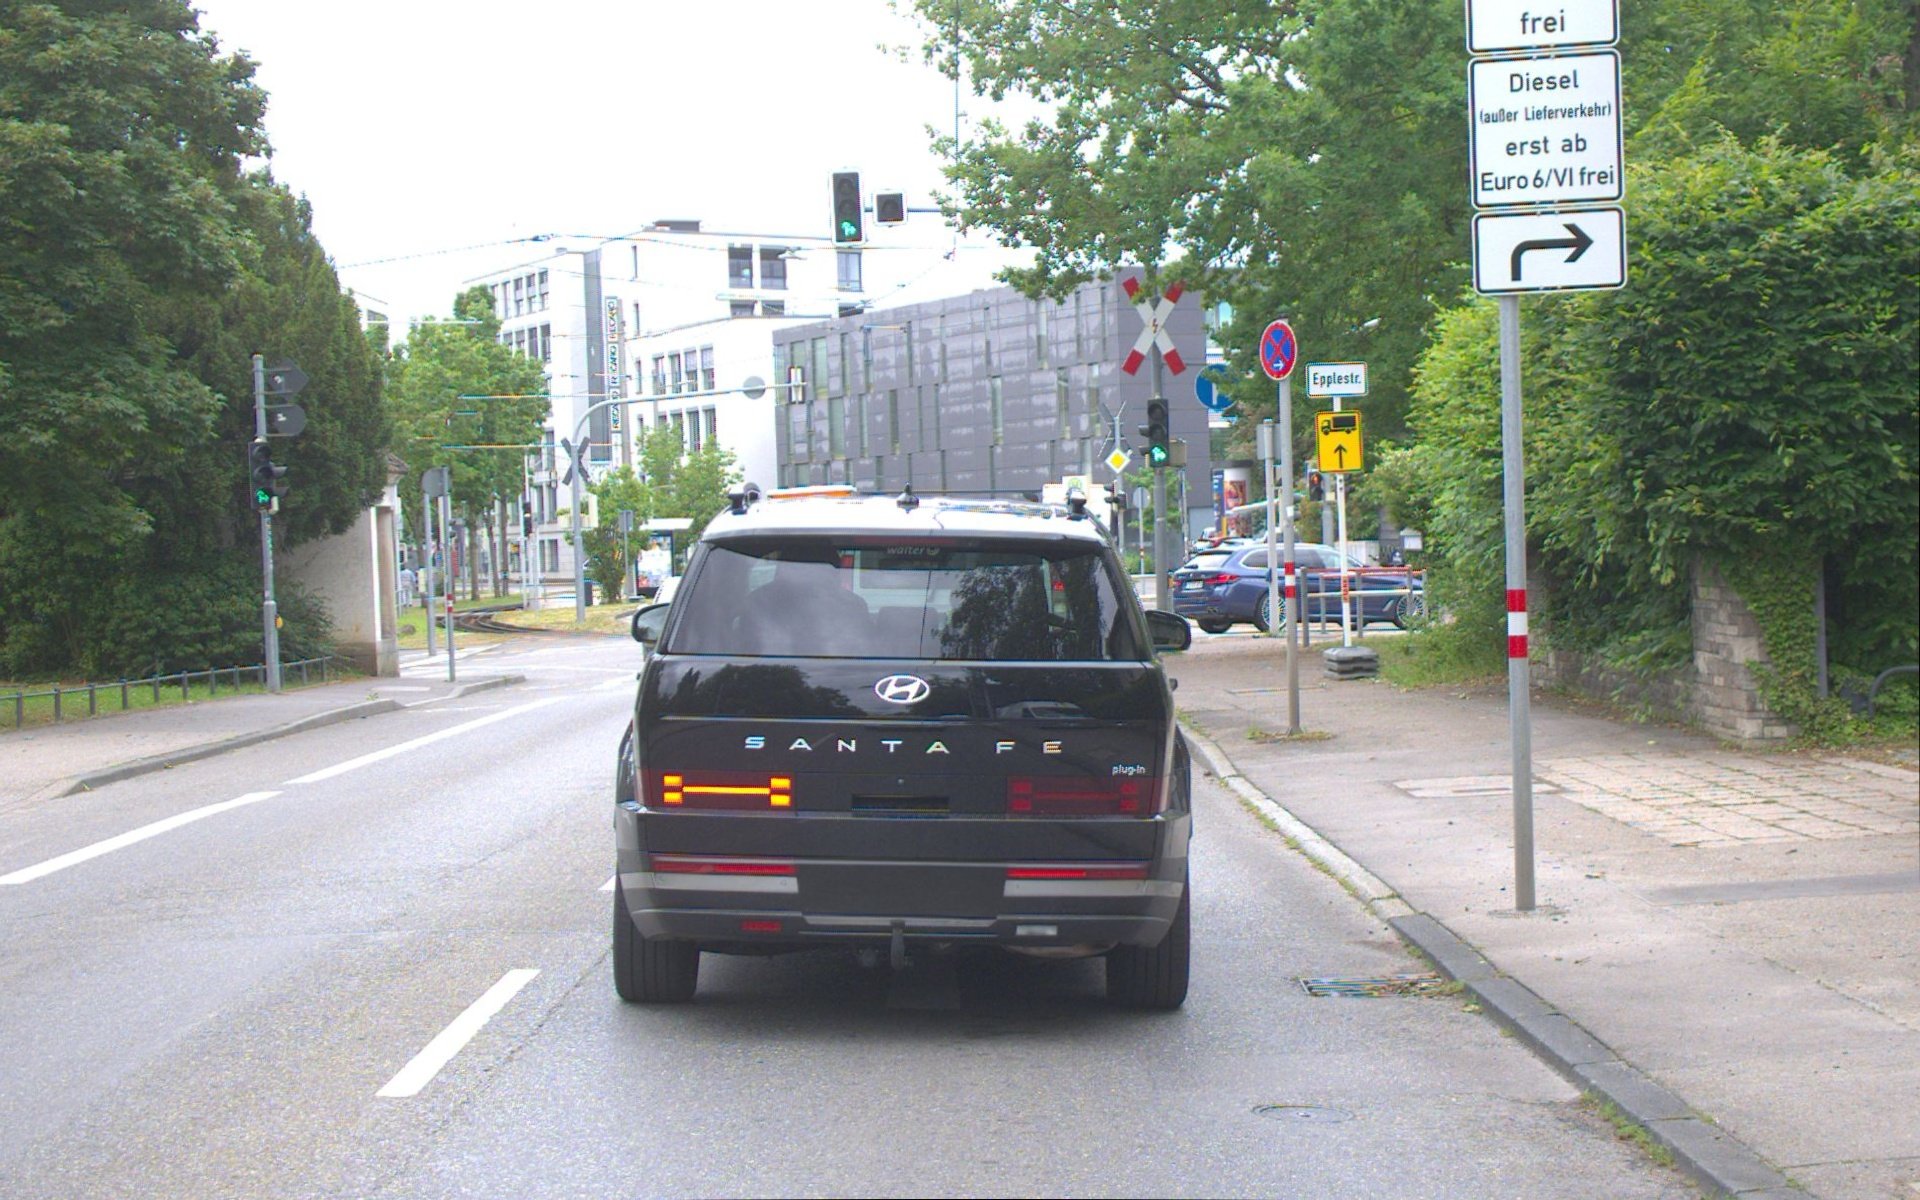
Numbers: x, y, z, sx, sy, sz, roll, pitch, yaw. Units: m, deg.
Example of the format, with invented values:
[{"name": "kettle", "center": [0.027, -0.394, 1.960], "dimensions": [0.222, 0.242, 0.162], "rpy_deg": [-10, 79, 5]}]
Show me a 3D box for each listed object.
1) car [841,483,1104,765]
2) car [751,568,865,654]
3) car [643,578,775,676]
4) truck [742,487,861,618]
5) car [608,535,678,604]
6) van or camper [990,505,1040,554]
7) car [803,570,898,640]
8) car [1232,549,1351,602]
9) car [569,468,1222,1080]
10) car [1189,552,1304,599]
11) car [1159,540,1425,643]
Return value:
[{"name": "car", "center": [0.096, 0.169, 27.579], "dimensions": [1.897, 2.035, 3.994], "rpy_deg": [2, 0, 0]}, {"name": "car", "center": [-3.085, 0.192, 69.102], "dimensions": [1.883, 1.633, 3.899], "rpy_deg": [-1, 1, -8]}, {"name": "car", "center": [-3.905, 0.387, 52.998], "dimensions": [1.883, 1.415, 4.001], "rpy_deg": [-1, 1, -6]}, {"name": "truck", "center": [-5.045, -1.473, 107.697], "dimensions": [3.107, 3.846, 9.623], "rpy_deg": [-1, 1, -6]}, {"name": "car", "center": [-11.028, -1.063, 119.504], "dimensions": [2.332, 2.307, 4.958], "rpy_deg": [-1, 1, -6]}, {"name": "van or camper", "center": [2.362, -3.034, 147.757], "dimensions": [1.795, 1.992, 3.824], "rpy_deg": [2, 0, -3]}, {"name": "car", "center": [-2.707, 0.104, 84.244], "dimensions": [1.883, 1.633, 3.899], "rpy_deg": [-1, 1, -8]}, {"name": "car", "center": [10.532, -0.787, 109.412], "dimensions": [3.690, 1.578, 1.687], "rpy_deg": [-1, 0, 3]}, {"name": "car", "center": [-0.192, 0.509, 12.270], "dimensions": [1.897, 1.770, 3.994], "rpy_deg": [2, 0, 0]}, {"name": "car", "center": [10.124, -0.867, 121.589], "dimensions": [3.987, 1.578, 1.889], "rpy_deg": [-1, 0, 3]}, {"name": "car", "center": [5.706, -0.155, 58.901], "dimensions": [4.281, 1.654, 1.874], "rpy_deg": [-2, 1, -33]}]
